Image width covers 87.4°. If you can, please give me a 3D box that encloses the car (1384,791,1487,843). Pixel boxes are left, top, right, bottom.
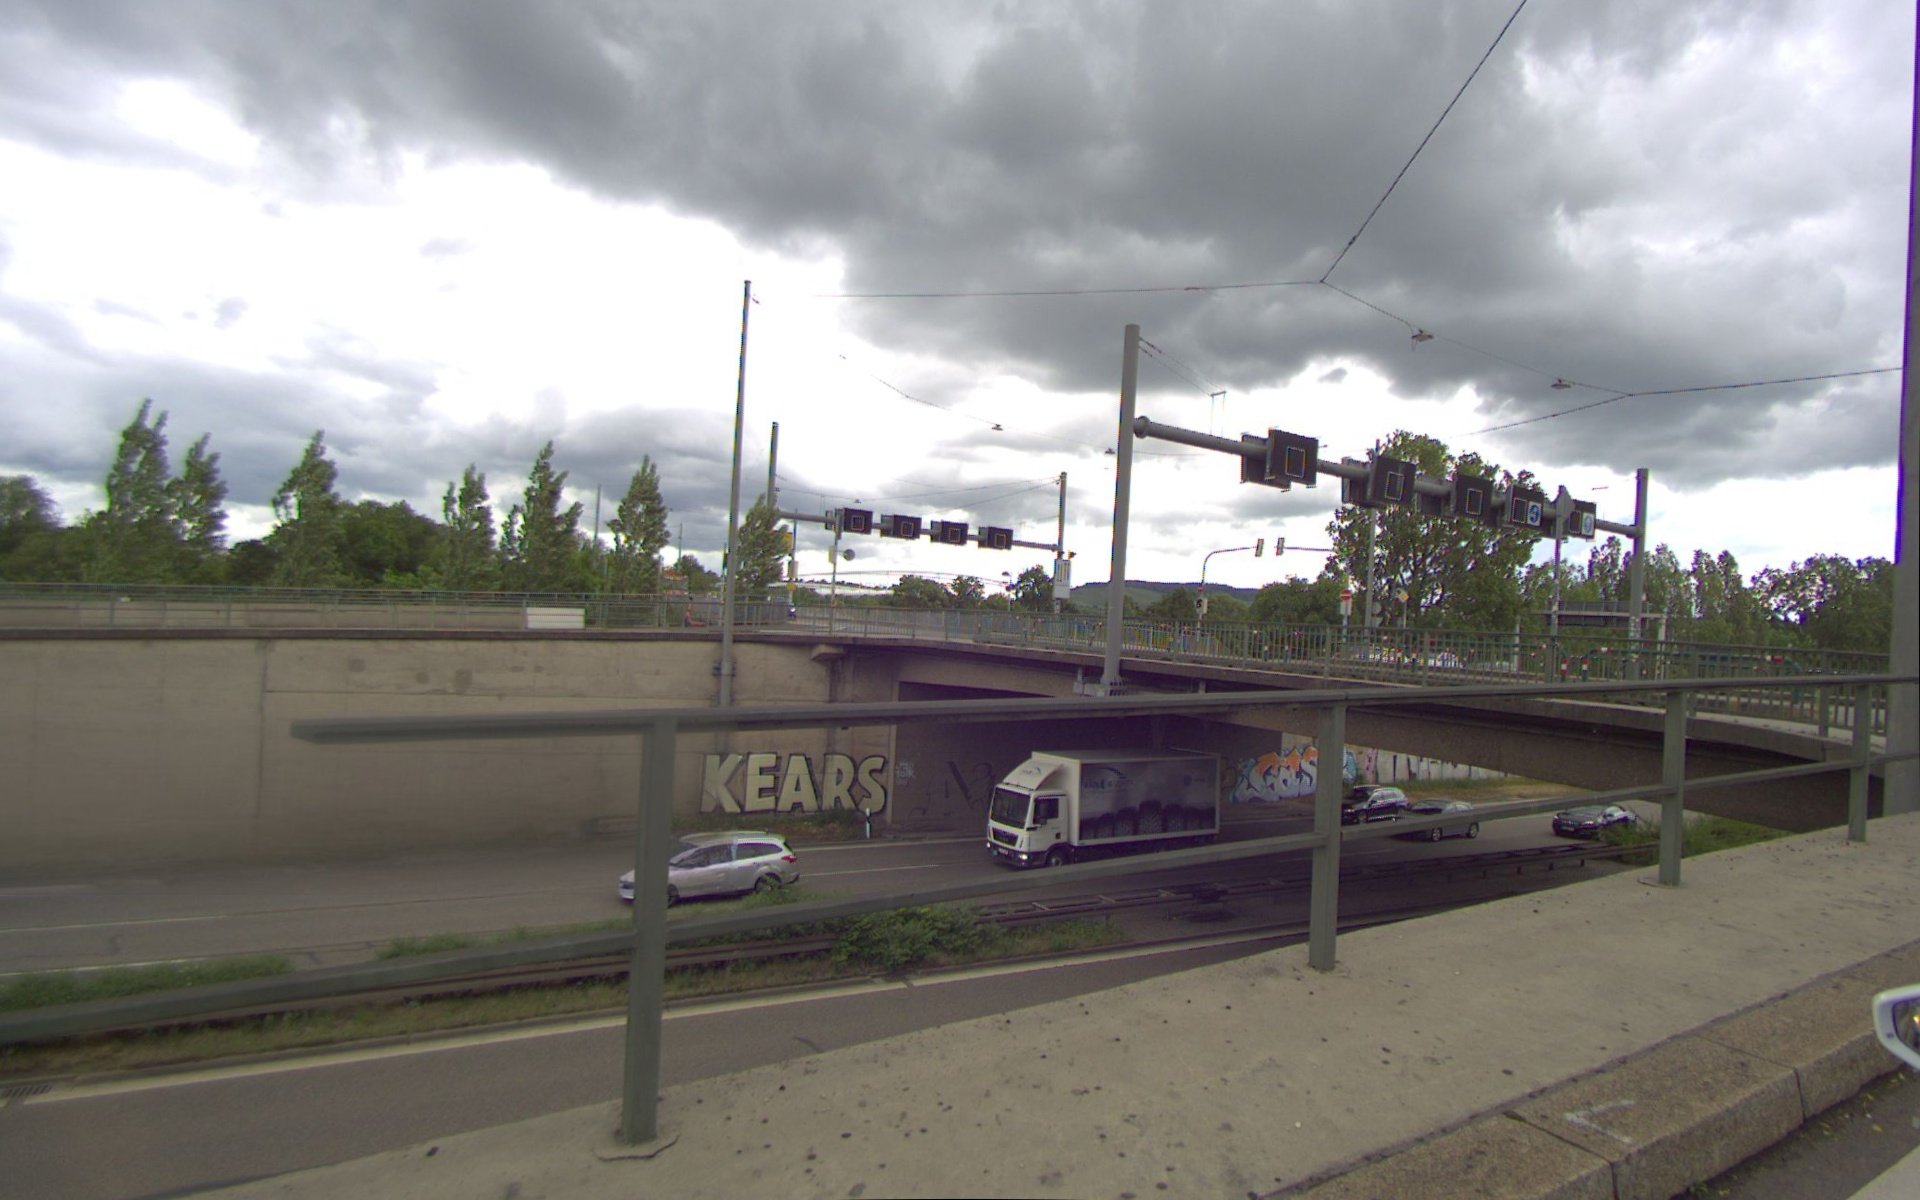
[{"bbox_3d":[19.420,8.804,40.979,4.252,1.632,1.812,5,-3,-32],"label":"car"}]

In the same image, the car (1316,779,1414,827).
[{"bbox_3d":[17.859,8.902,44.252,4.252,1.632,1.812,4,-3,-32],"label":"car"}]

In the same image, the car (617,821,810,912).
[{"bbox_3d":[-6.224,6.692,25.570,4.444,1.632,1.671,4,-3,-32],"label":"car"}]

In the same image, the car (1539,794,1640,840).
[{"bbox_3d":[27.295,9.340,43.525,4.518,1.512,1.831,4,-4,-30],"label":"car"}]

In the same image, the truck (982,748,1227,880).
[{"bbox_3d":[4.821,6.686,32.425,8.043,3.506,2.500,5,-3,-32],"label":"truck"}]
